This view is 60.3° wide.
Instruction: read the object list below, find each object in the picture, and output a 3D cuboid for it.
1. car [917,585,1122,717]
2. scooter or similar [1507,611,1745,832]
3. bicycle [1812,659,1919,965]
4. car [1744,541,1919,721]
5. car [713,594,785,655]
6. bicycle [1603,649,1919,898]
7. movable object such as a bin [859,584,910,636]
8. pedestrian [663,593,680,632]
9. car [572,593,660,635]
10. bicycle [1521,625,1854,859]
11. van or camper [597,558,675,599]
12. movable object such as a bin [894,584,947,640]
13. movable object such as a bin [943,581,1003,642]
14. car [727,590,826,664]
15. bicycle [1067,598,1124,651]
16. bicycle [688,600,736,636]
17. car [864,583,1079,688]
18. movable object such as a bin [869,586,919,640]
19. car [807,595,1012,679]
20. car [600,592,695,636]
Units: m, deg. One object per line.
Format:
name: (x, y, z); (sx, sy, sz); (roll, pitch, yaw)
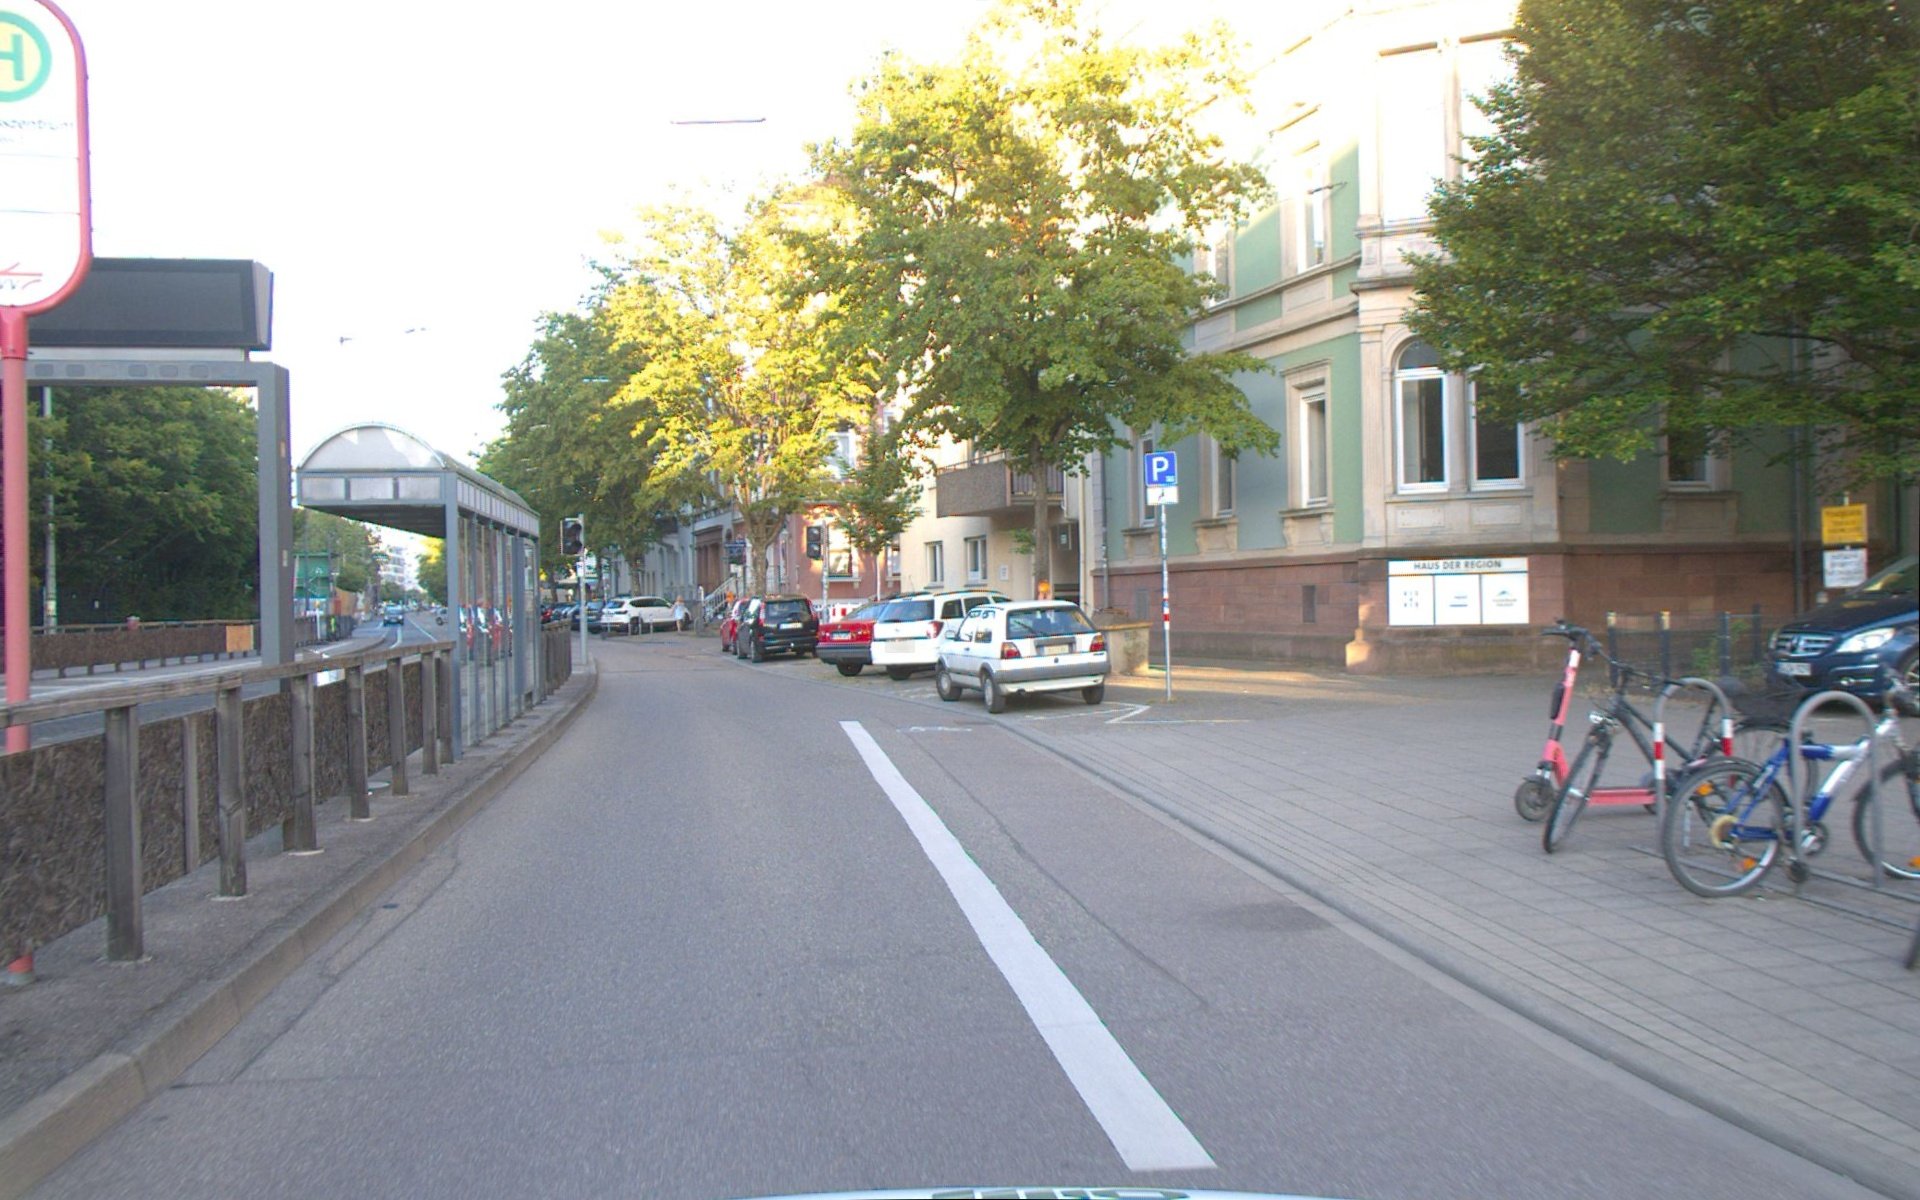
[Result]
car: (0.743, 0.656, 23.454); (1.654, 1.579, 3.982); (-4, 1, -16)
scooter or similar: (4.093, 0.726, 10.204); (1.177, 1.246, 0.590); (-3, 0, -6)
bicycle: (4.368, 0.781, 6.443); (1.720, 1.093, 0.743); (-1, 0, -4)
car: (9.922, 0.224, 15.961); (3.907, 1.601, 1.801); (-1, 1, -7)
car: (-6.022, 0.665, 47.024); (1.539, 1.562, 3.679); (-3, 1, -14)
bicycle: (4.053, 0.814, 8.074); (1.520, 1.093, 0.743); (-1, 0, -4)
movable object such as a bin: (-2.286, 0.299, 50.088); (1.123, 1.528, 1.589); (-1, 0, -20)
pedestrian: (-12.056, 0.525, 69.034); (0.577, 1.637, 0.621); (-1, 0, -19)
car: (-16.616, 0.658, 80.100); (1.862, 1.697, 3.944); (-3, 1, 34)
bicycle: (3.974, 0.751, 9.105); (1.496, 1.183, 0.743); (-1, 0, -4)
van or camper: (-23.423, -1.549, 119.834); (2.045, 2.574, 5.531); (-3, 2, 36)
movable object such as a bin: (-1.122, 0.325, 46.612); (1.123, 1.528, 1.263); (-1, 0, -20)
movable object such as a bin: (0.323, 0.298, 42.672); (1.097, 1.528, 1.473); (-1, 0, -20)
car: (-4.609, 0.644, 41.157); (1.716, 1.660, 4.070); (-3, 1, -16)
bicycle: (2.899, 0.522, 35.536); (0.641, 1.093, 1.547); (-1, 0, -19)
bicycle: (-9.312, 0.682, 62.172); (0.589, 1.288, 1.911); (-2, 0, 36)
car: (0.285, 0.580, 30.188); (1.690, 1.755, 4.189); (0, 1, 39)
movable object such as a bin: (-1.918, 0.361, 47.905); (1.057, 1.528, 1.310); (-1, 0, -21)
car: (-0.931, 0.681, 32.479); (1.615, 1.479, 4.186); (-1, 0, 41)
car: (-13.758, 0.595, 72.936); (1.643, 1.655, 3.935); (-1, 2, 40)
